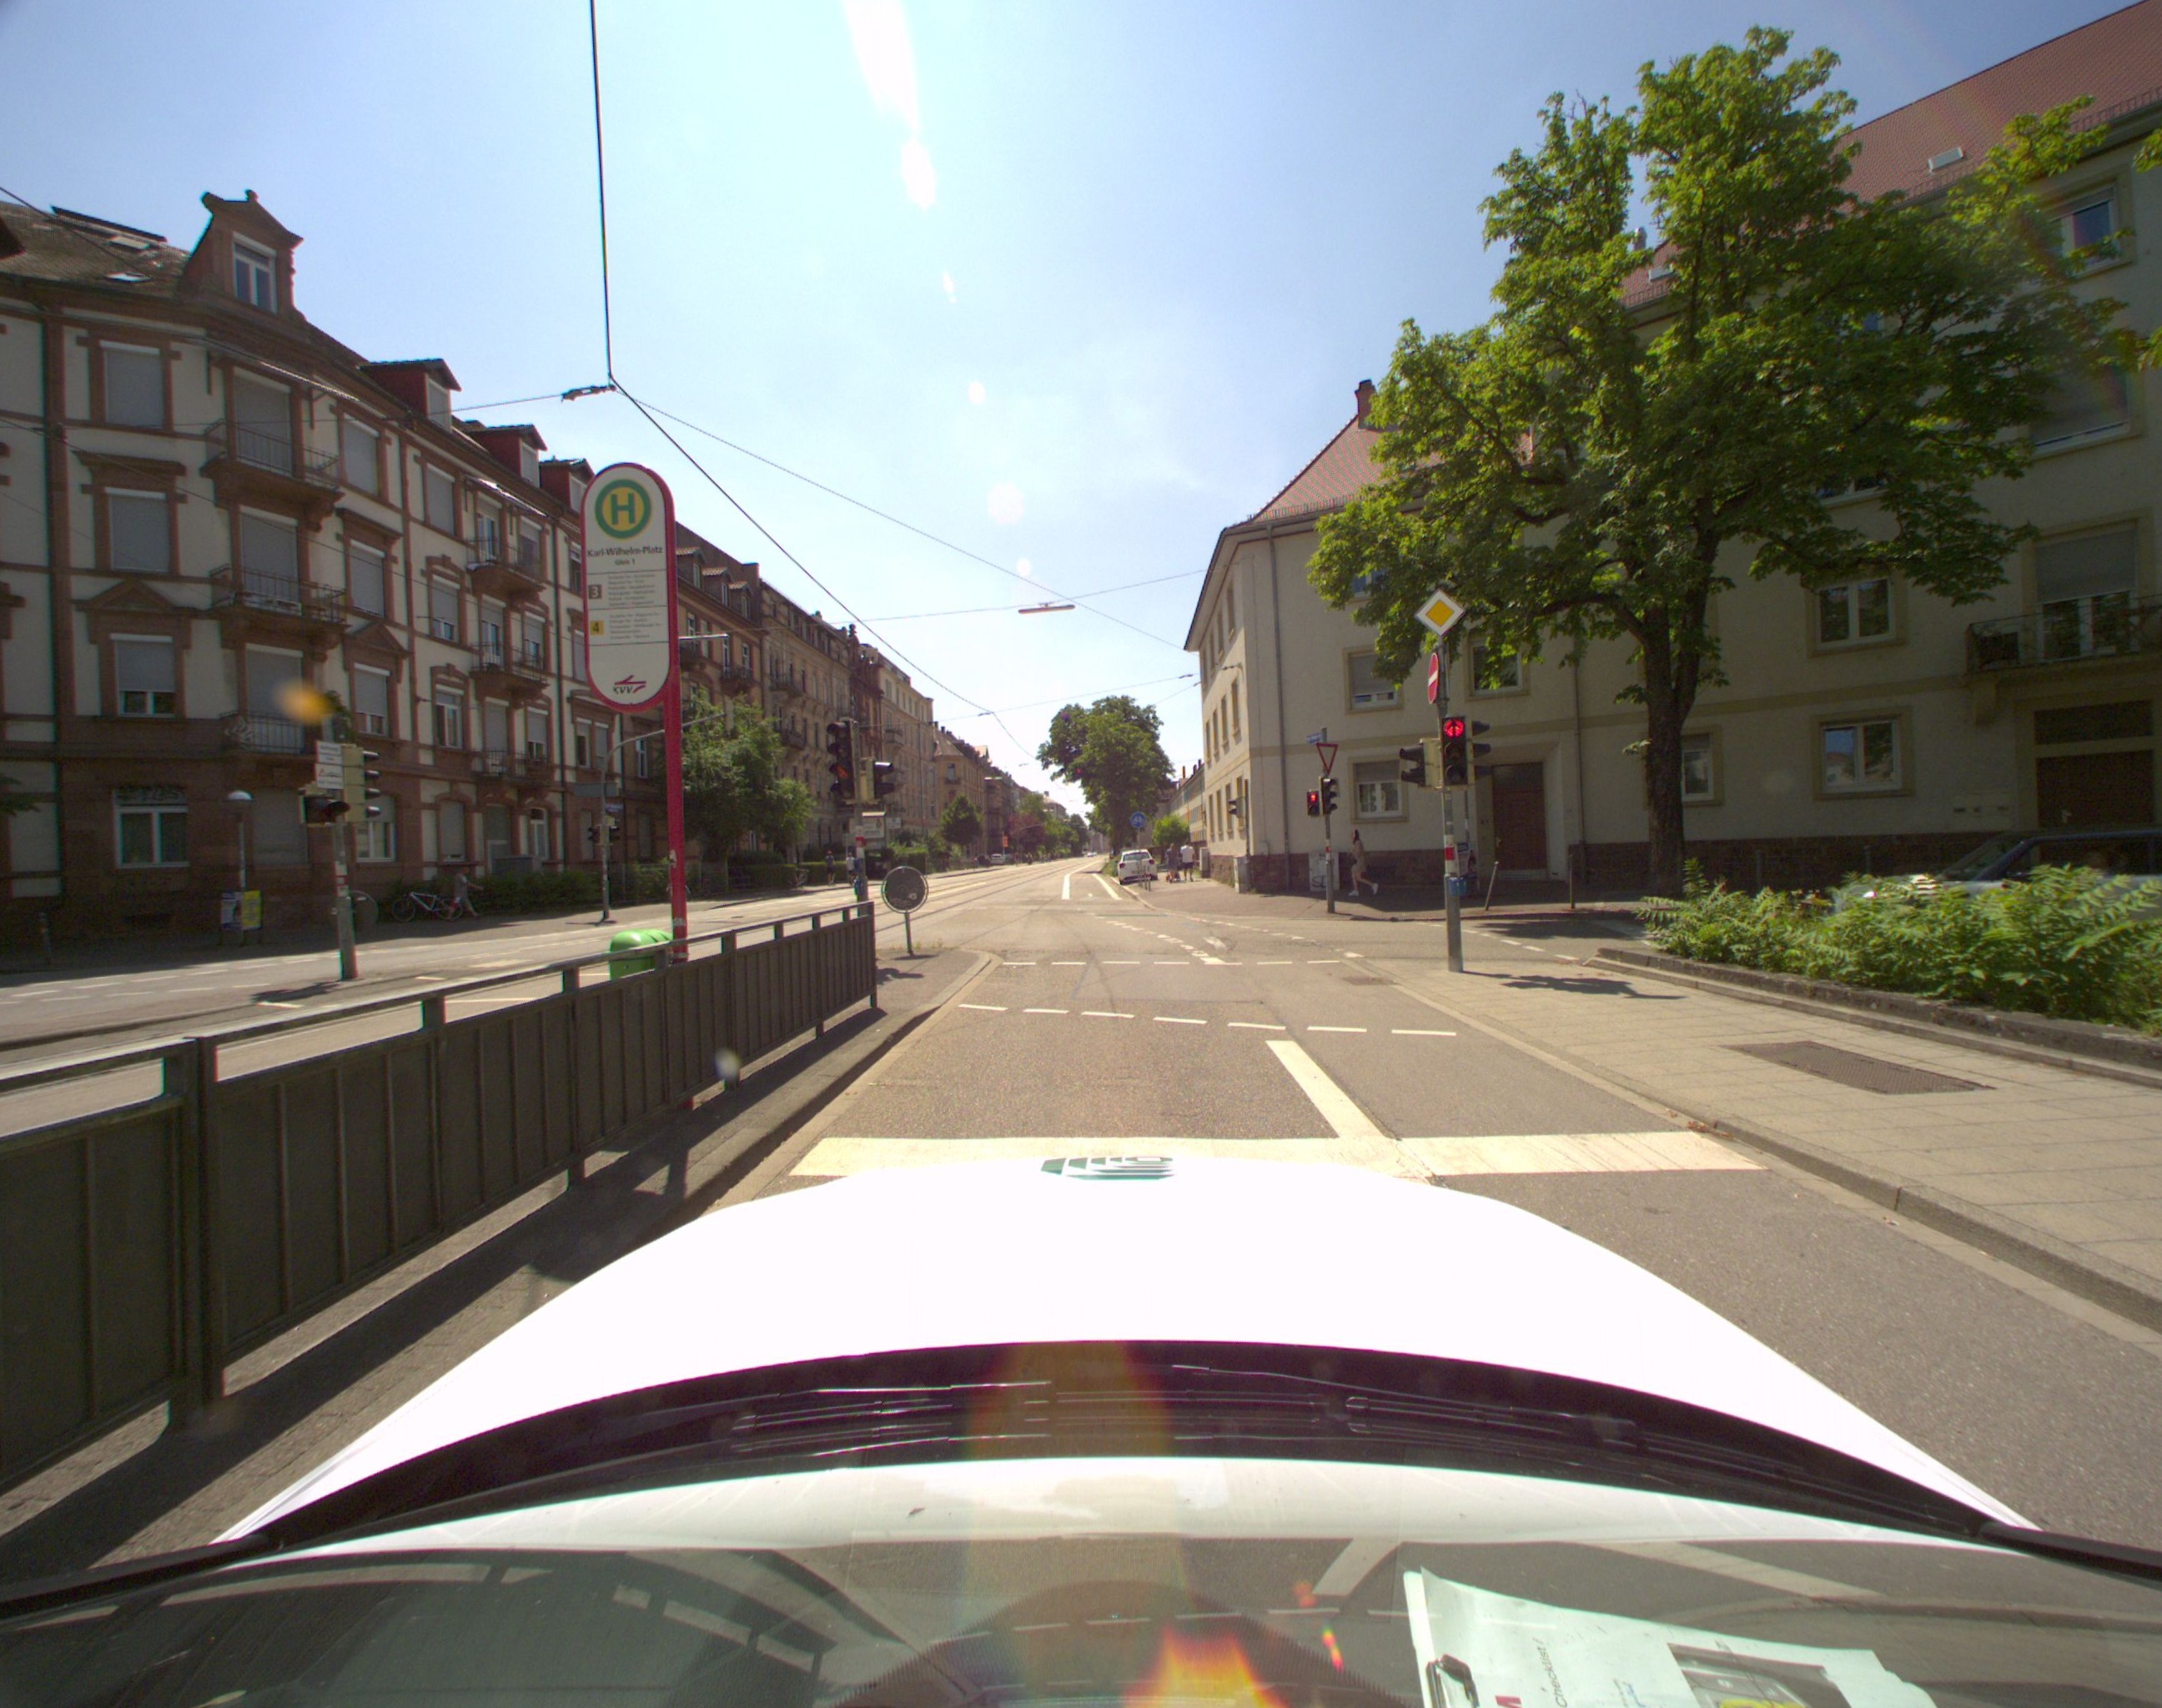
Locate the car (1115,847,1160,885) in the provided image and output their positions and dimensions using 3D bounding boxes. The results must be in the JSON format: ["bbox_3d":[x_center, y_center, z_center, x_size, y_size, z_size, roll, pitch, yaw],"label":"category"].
[{"bbox_3d":[2.525,0.533,37.402,1.808,1.516,4.001,-4,-1,2],"label":"car"}]

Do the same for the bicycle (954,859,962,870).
[{"bbox_3d":[-12.153,1.031,80.499,0.677,1.064,1.912,-2,0,-9],"label":"bicycle"}]

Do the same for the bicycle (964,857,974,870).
[{"bbox_3d":[-11.709,0.958,85.136,0.675,1.278,1.918,-2,0,-1],"label":"bicycle"}]

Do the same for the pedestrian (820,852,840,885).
[{"bbox_3d":[-13.937,0.802,45.273,0.814,1.822,0.873,0,1,-2],"label":"pedestrian"}]

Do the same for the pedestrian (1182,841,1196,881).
[{"bbox_3d":[4.457,0.301,33.718,0.553,1.645,0.678,0,-1,8],"label":"pedestrian"}]

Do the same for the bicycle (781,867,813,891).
[{"bbox_3d":[-14.383,1.253,41.257,0.936,1.136,2.767,0,-1,-7],"label":"bicycle"}]

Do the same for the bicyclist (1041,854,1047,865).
[{"bbox_3d":[-6.184,0.857,136.170,0.724,1.818,1.080,0,-1,3],"label":"bicyclist"}]

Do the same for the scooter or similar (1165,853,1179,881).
[{"bbox_3d":[3.865,0.527,34.412,0.553,1.155,1.208,0,-1,8],"label":"scooter or similar"}]

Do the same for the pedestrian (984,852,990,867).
[{"bbox_3d":[-10.506,0.642,91.122,0.519,1.659,0.529,-2,0,1],"label":"pedestrian"}]

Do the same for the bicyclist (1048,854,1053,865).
[{"bbox_3d":[-5.162,0.859,136.095,0.724,1.818,1.080,0,-1,3],"label":"bicyclist"}]

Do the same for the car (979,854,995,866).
[{"bbox_3d":[-14.330,0.898,124.467,1.912,1.715,4.001,0,-1,2],"label":"car"}]

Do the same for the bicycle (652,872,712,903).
[{"bbox_3d":[-15.670,1.298,32.082,0.934,1.136,2.774,0,-1,1],"label":"bicycle"}]

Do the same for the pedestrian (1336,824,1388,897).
[{"bbox_3d":[7.111,0.155,20.604,1.045,1.690,0.657,-6,3,21],"label":"pedestrian"}]

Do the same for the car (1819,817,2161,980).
[{"bbox_3d":[10.276,0.394,8.567,1.715,1.506,3.607,-2,1,-44],"label":"car"}]

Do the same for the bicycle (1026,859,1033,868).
[{"bbox_3d":[-7.191,1.321,113.266,0.724,1.123,2.087,0,-1,4],"label":"bicycle"}]

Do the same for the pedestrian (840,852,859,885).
[{"bbox_3d":[-12.991,0.784,45.645,0.814,1.822,0.873,0,1,-2],"label":"pedestrian"}]

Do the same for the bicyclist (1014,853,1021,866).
[{"bbox_3d":[-7.801,0.647,100.735,0.724,1.629,1.080,0,-1,3],"label":"bicyclist"}]

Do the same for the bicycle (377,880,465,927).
[{"bbox_3d":[-19.555,1.435,24.160,0.557,1.294,1.975,-1,-1,43],"label":"bicycle"}]

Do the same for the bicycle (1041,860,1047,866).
[{"bbox_3d":[-6.185,1.512,136.132,0.724,1.123,2.087,0,-1,4],"label":"bicycle"}]

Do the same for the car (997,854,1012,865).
[{"bbox_3d":[-11.658,0.878,124.329,1.912,1.715,4.001,0,-1,2],"label":"car"}]

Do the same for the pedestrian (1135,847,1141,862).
[{"bbox_3d":[5.763,0.064,82.685,0.519,1.562,0.573,-2,0,1],"label":"pedestrian"}]

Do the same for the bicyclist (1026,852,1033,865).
[{"bbox_3d":[-7.180,0.678,113.321,0.724,1.768,1.080,0,-1,3],"label":"bicyclist"}]

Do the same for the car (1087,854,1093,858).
[{"bbox_3d":[2.764,0.728,258.547,1.699,1.277,4.001,0,0,2],"label":"car"}]

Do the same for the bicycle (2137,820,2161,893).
[{"bbox_3d":[17.010,0.025,12.083,0.527,1.104,1.589,-2,0,-34],"label":"bicycle"}]

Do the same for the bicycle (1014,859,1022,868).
[{"bbox_3d":[-7.787,1.173,100.722,0.724,1.123,2.087,0,-1,4],"label":"bicycle"}]

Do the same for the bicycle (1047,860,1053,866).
[{"bbox_3d":[-5.160,1.488,136.040,0.724,1.123,2.087,0,-1,4],"label":"bicycle"}]

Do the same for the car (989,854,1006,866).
[{"bbox_3d":[-11.879,0.813,116.065,1.912,1.715,4.001,0,-1,2],"label":"car"}]

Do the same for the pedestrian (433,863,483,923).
[{"bbox_3d":[-18.440,1.127,24.103,1.068,1.689,0.714,-2,0,-42],"label":"pedestrian"}]

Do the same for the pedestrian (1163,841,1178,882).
[{"bbox_3d":[3.682,0.304,33.462,0.553,1.645,0.678,0,-1,8],"label":"pedestrian"}]
